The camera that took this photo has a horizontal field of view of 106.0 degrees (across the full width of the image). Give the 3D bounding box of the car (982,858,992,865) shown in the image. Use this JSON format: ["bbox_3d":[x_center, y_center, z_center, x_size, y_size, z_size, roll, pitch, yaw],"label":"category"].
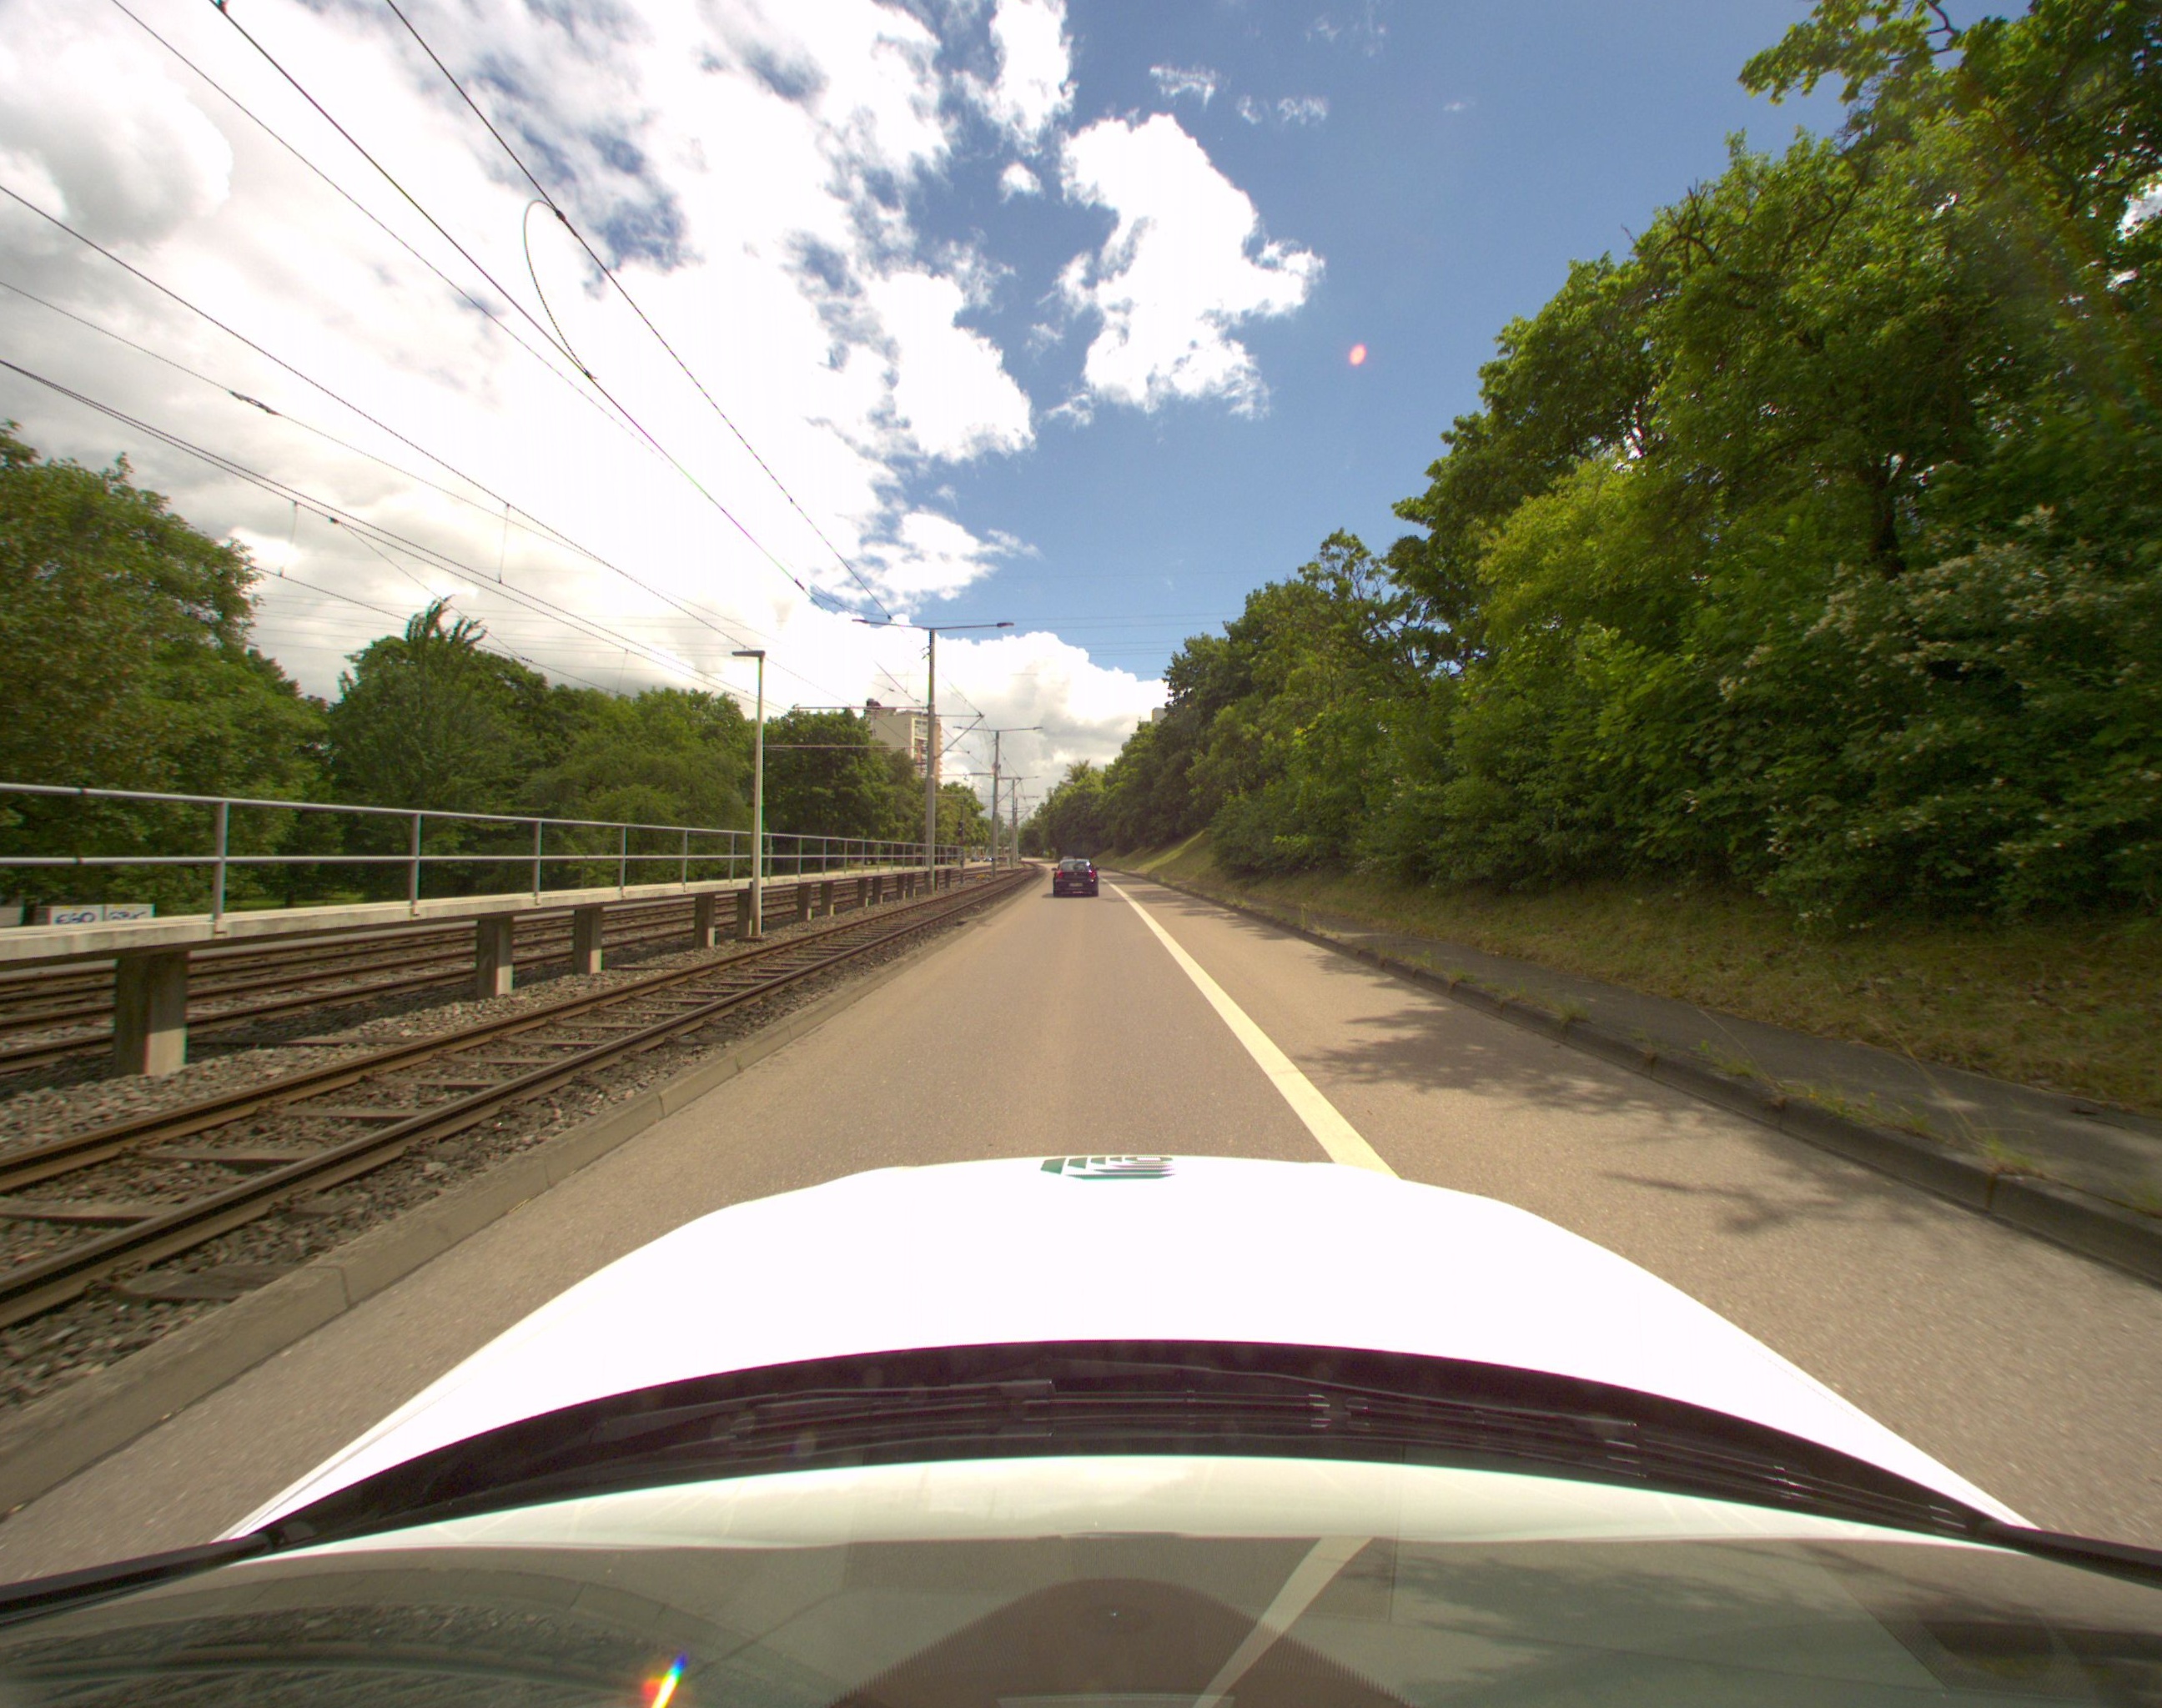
[{"bbox_3d":[-21.239,1.702,183.504,1.831,1.391,4.858,-2,0,-2],"label":"car"}]

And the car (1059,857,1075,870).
[{"bbox_3d":[-1.675,1.140,95.745,1.777,1.460,3.916,0,0,-3],"label":"car"}]

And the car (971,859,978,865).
[{"bbox_3d":[-24.598,1.811,188.097,1.773,1.498,3.986,0,0,-8],"label":"car"}]

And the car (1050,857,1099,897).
[{"bbox_3d":[-0.306,0.852,31.817,1.777,1.459,3.917,-1,0,-2],"label":"car"}]
